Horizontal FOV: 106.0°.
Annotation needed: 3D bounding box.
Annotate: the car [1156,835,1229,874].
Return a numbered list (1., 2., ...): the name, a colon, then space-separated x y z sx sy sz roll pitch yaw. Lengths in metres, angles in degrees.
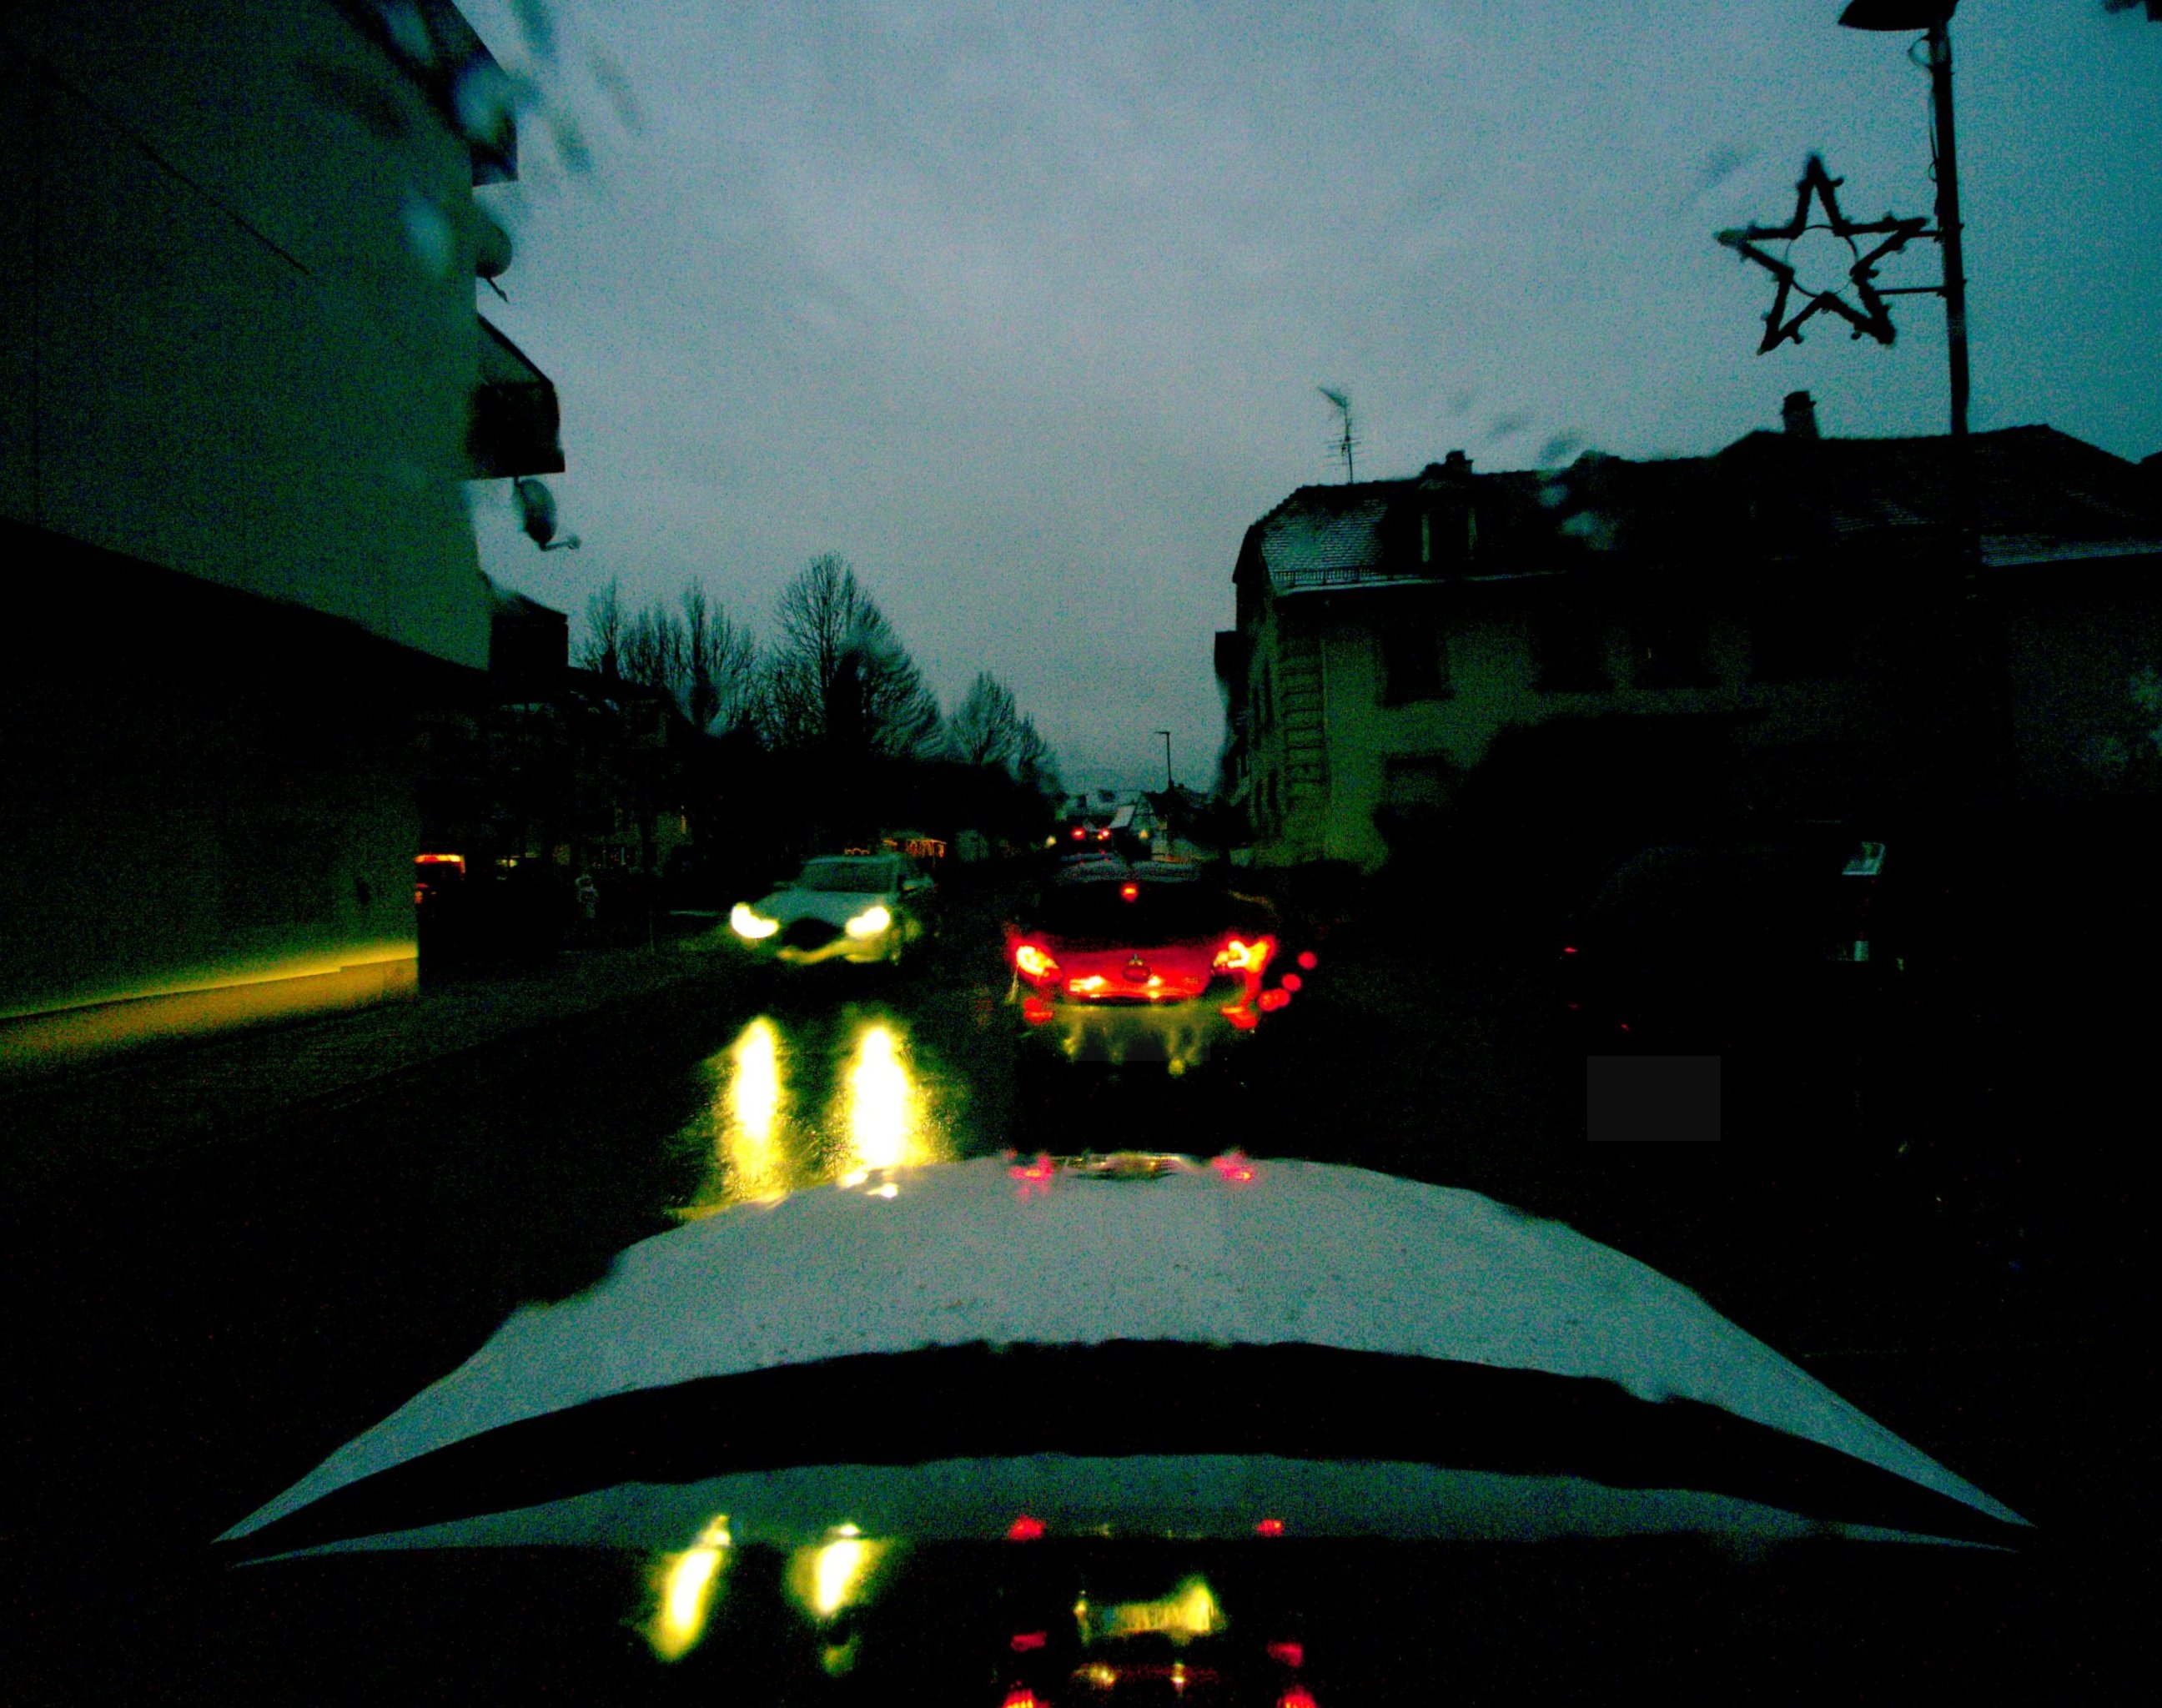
1. car: 6.570 0.015 47.889 4.073 2.163 1.918 -2 0 8

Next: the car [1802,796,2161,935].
1. car: 12.348 0.112 10.668 3.971 1.524 1.938 -3 -1 2

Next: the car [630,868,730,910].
1. car: -18.172 1.587 36.903 3.953 1.730 1.829 -2 0 21

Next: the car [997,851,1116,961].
1. car: -0.333 0.724 13.001 1.632 1.481 3.271 -1 0 0

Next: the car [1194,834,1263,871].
1. car: 9.042 -0.088 50.102 4.073 2.151 1.918 -2 0 8

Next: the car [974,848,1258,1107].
1. car: 0.257 0.726 6.438 1.632 1.481 3.380 -1 0 2

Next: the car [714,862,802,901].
1. car: -16.689 1.418 42.133 3.953 1.910 1.829 -2 0 21

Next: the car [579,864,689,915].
1. car: -18.724 1.494 34.118 3.953 1.988 1.829 -2 0 21

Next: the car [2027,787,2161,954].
1. car: 12.134 0.064 7.698 3.972 1.570 2.000 -3 -1 1

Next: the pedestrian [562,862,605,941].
1. pedestrian: -9.602 0.898 15.709 0.653 1.458 0.643 -1 0 -35

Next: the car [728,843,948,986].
1. car: -3.183 0.690 11.690 1.805 1.596 4.398 -2 0 0

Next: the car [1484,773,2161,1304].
1. car: 4.078 0.504 3.485 3.862 1.579 1.680 -3 0 -4

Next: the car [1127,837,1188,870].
1. car: 5.350 -0.026 56.959 4.073 2.151 1.918 -2 0 8

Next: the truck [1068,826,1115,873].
1. truck: 0.886 -0.318 59.856 3.003 3.128 8.007 -1 0 3
